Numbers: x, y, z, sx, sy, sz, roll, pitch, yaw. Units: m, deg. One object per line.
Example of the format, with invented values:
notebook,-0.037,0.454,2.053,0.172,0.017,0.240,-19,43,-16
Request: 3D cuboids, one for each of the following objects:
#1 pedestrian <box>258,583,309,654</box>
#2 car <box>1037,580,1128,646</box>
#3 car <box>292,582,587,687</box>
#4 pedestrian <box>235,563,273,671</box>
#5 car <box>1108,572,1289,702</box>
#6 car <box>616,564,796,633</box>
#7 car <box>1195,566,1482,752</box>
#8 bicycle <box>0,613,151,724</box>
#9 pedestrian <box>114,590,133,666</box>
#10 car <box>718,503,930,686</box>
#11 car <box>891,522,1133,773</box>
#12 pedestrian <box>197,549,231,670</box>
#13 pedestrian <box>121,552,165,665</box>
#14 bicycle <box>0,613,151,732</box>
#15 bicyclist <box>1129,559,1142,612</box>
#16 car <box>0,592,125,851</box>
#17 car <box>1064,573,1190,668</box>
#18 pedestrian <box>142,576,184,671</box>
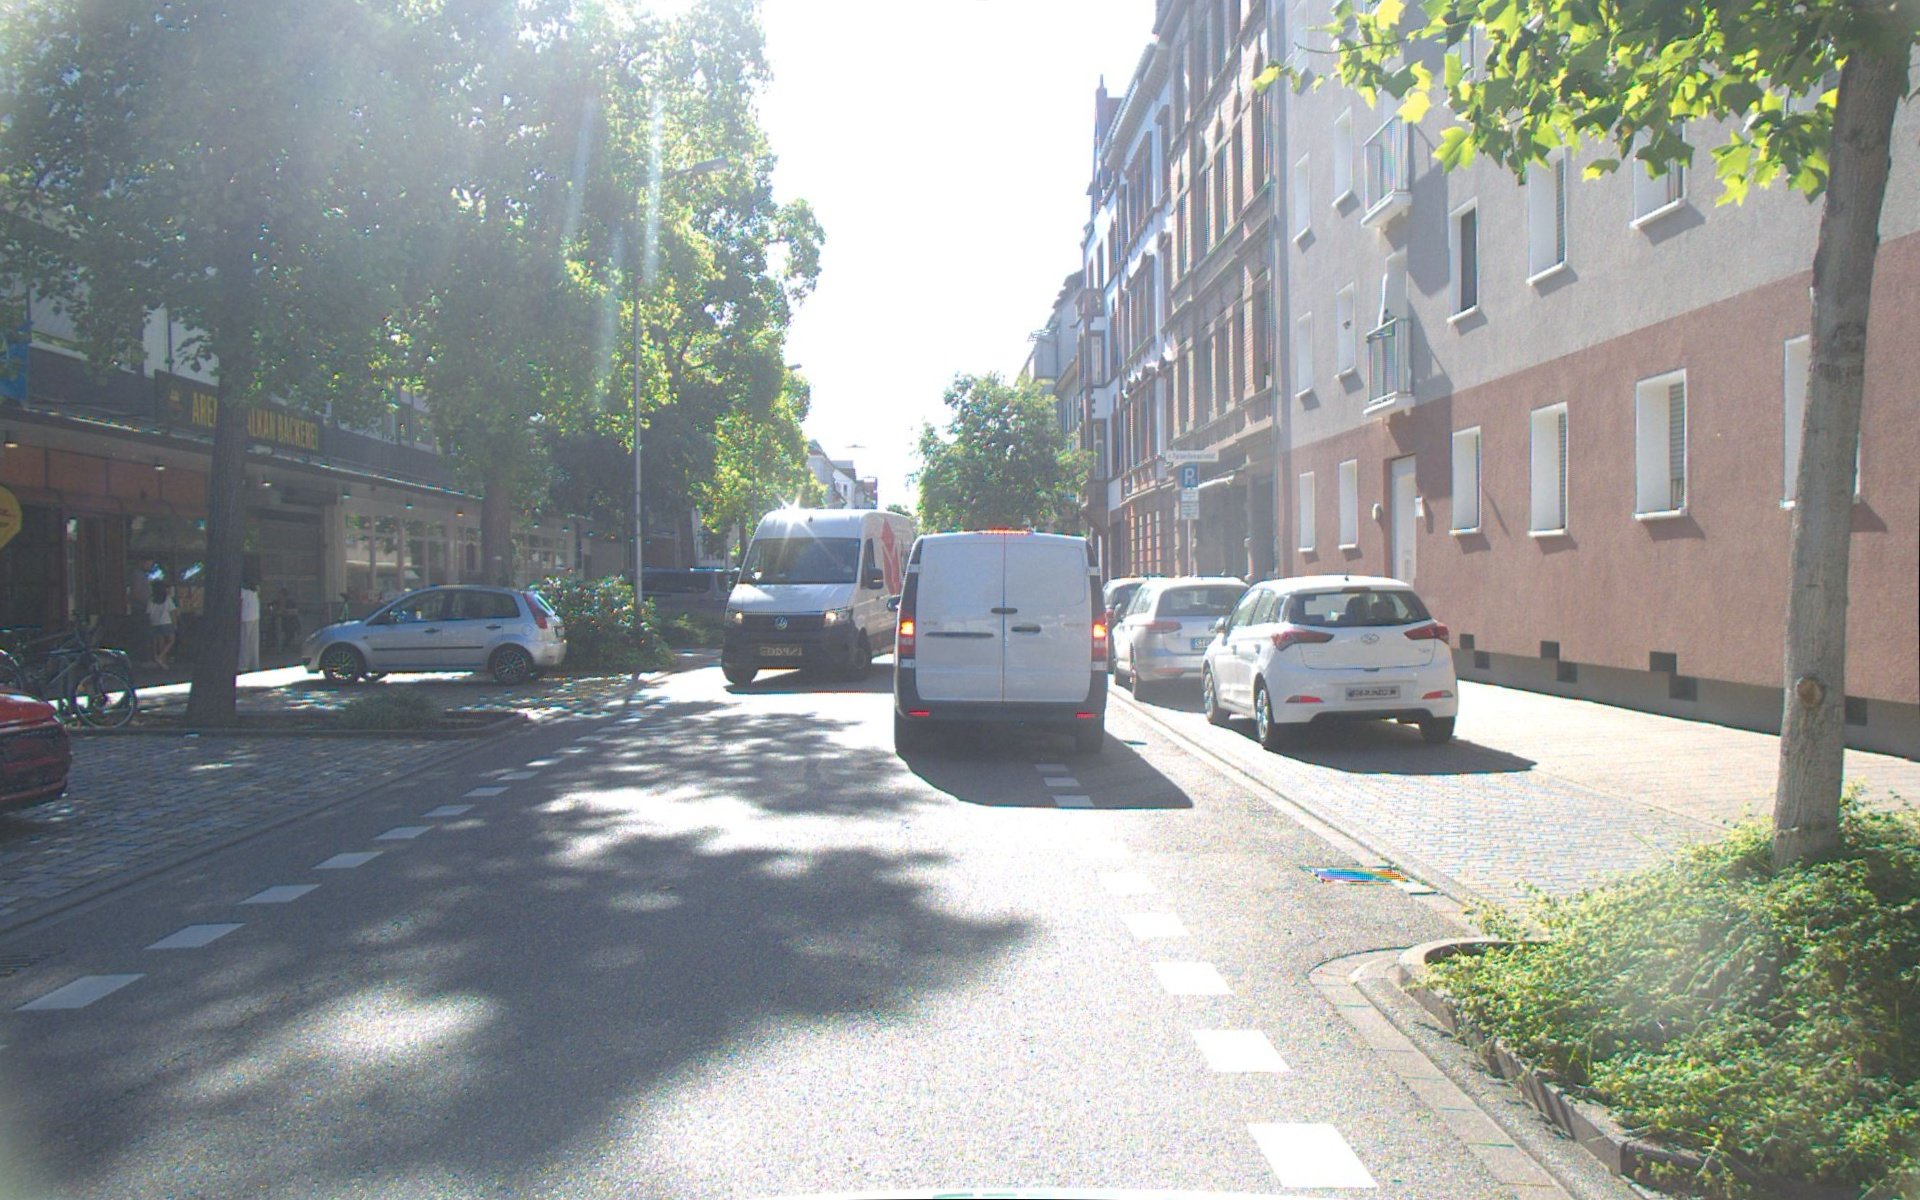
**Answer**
pedestrian,-13.122,0.360,32.098,0.708,1.354,0.703,1,0,-5
car,2.878,0.266,39.497,1.703,1.477,3.998,-1,1,-2
car,-7.833,0.490,25.172,3.907,1.482,1.860,-1,1,-3
pedestrian,-11.474,0.265,26.882,0.382,1.735,0.502,1,0,0
car,3.051,0.416,21.991,1.749,1.485,4.517,-2,1,1
car,-7.638,-0.050,50.130,5.186,2.008,2.015,1,0,-2
car,3.488,0.475,15.952,1.697,1.512,3.793,-2,1,-3
bicycle,-9.743,0.721,17.740,1.829,1.126,0.587,1,0,1
pedestrian,-13.981,0.466,27.643,0.208,1.266,0.215,1,0,-1
car,-1.958,-0.129,26.246,1.951,2.517,6.609,-1,1,8
car,0.306,0.339,15.377,1.882,1.947,4.886,0,1,-2
pedestrian,-12.237,0.148,27.135,0.382,1.968,0.361,1,0,-1
pedestrian,-13.228,0.132,26.782,0.475,1.813,0.427,-1,0,-5
bicycle,-9.209,0.721,16.783,1.683,1.136,0.623,1,0,1
bicyclist,4.989,-0.416,47.052,0.353,1.502,0.531,0,0,3
car,-7.420,0.684,10.041,3.835,1.476,1.711,1,1,3
car,2.807,0.316,28.462,1.674,1.506,3.709,-1,1,-2
pedestrian,-12.694,0.369,26.346,0.459,1.499,0.420,-1,0,-5
